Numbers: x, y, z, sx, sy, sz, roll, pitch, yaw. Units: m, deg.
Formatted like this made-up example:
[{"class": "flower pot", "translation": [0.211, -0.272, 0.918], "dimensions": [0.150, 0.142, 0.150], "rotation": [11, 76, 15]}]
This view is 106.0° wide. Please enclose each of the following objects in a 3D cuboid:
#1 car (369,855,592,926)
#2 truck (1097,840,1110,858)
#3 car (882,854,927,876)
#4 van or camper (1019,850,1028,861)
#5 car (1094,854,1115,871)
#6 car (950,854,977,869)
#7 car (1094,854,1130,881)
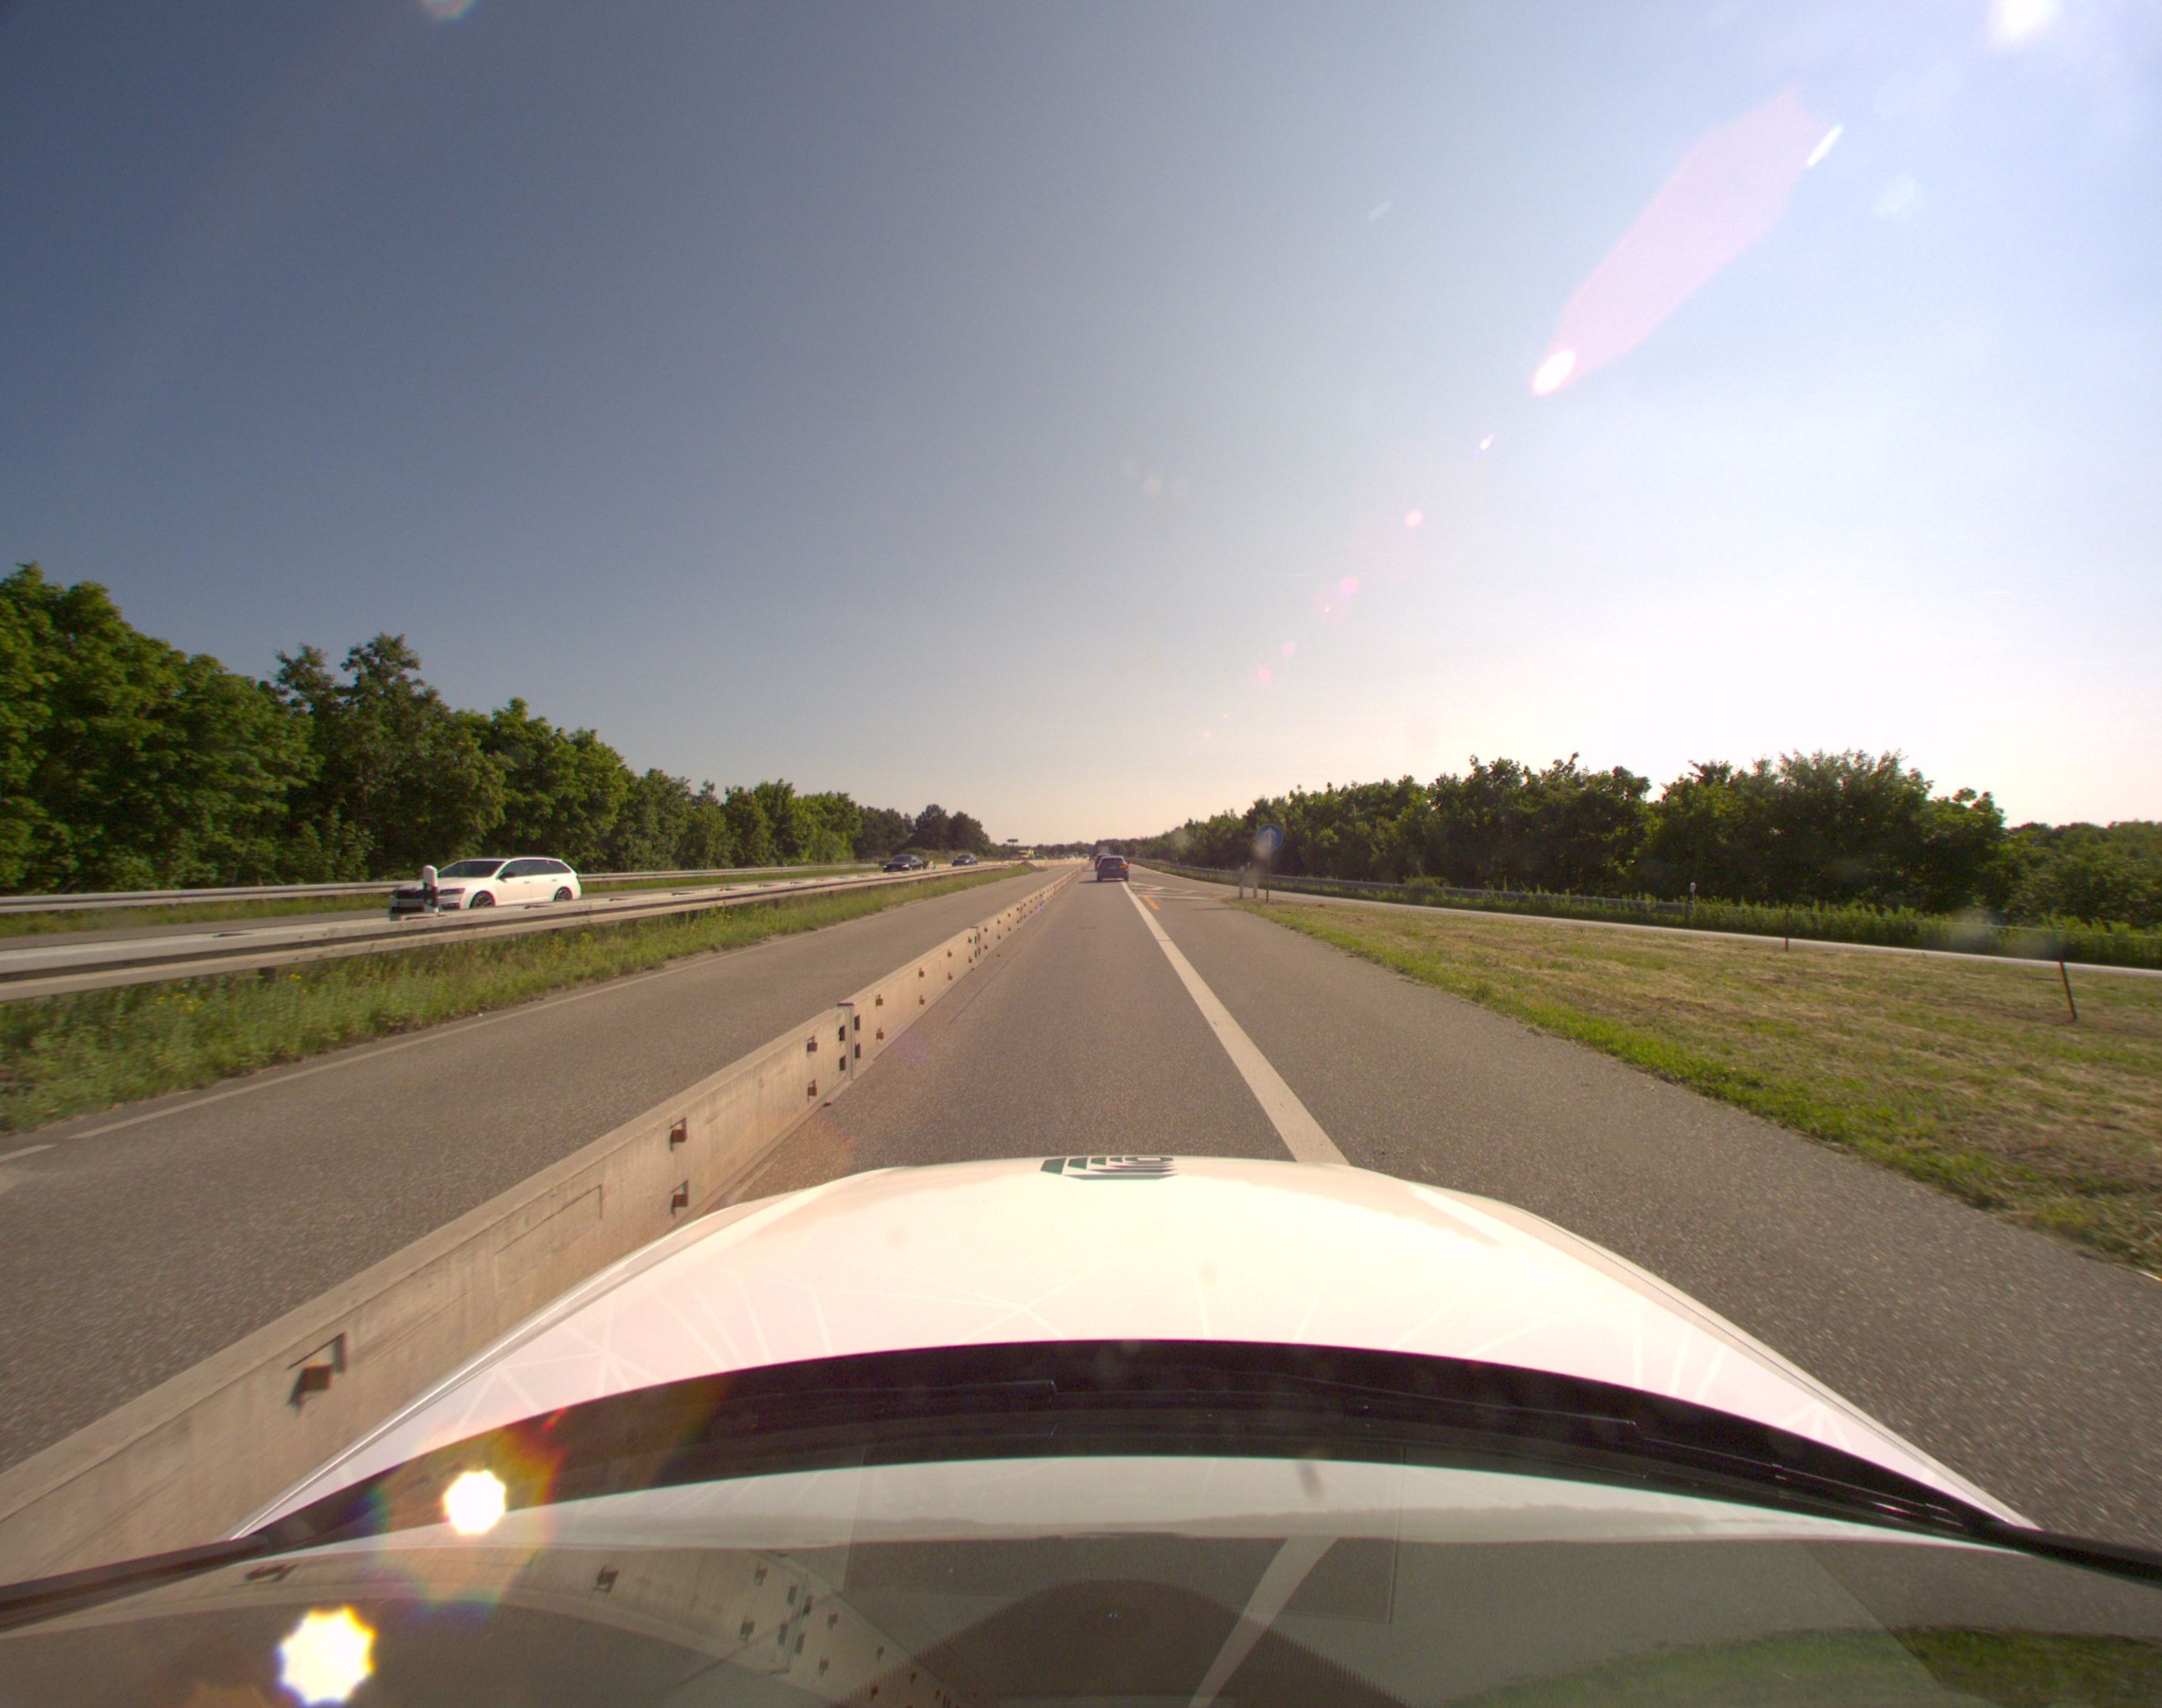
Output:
[{"class": "car", "translation": [-14.187, 0.784, 19.671], "dimensions": [1.754, 1.470, 4.795], "rotation": [1, 0, 1]}, {"class": "truck", "translation": [6.485, -1.411, 238.957], "dimensions": [3.748, 4.911, 14.138], "rotation": [0, 0, 1]}, {"class": "car", "translation": [-12.480, 0.764, 57.760], "dimensions": [1.808, 1.488, 5.028], "rotation": [0, 0, 3]}, {"class": "van or camper", "translation": [-13.249, 0.276, 186.500], "dimensions": [1.990, 2.378, 6.191], "rotation": [-3, 0, -4]}, {"class": "car", "translation": [2.291, 0.769, 78.953], "dimensions": [1.986, 1.567, 4.002], "rotation": [-1, 0, 2]}, {"class": "car", "translation": [-11.591, 0.739, 80.725], "dimensions": [1.790, 1.434, 4.595], "rotation": [0, 0, 2]}, {"class": "car", "translation": [1.714, 0.754, 46.553], "dimensions": [1.914, 1.494, 4.000], "rotation": [0, 0, 0]}]
